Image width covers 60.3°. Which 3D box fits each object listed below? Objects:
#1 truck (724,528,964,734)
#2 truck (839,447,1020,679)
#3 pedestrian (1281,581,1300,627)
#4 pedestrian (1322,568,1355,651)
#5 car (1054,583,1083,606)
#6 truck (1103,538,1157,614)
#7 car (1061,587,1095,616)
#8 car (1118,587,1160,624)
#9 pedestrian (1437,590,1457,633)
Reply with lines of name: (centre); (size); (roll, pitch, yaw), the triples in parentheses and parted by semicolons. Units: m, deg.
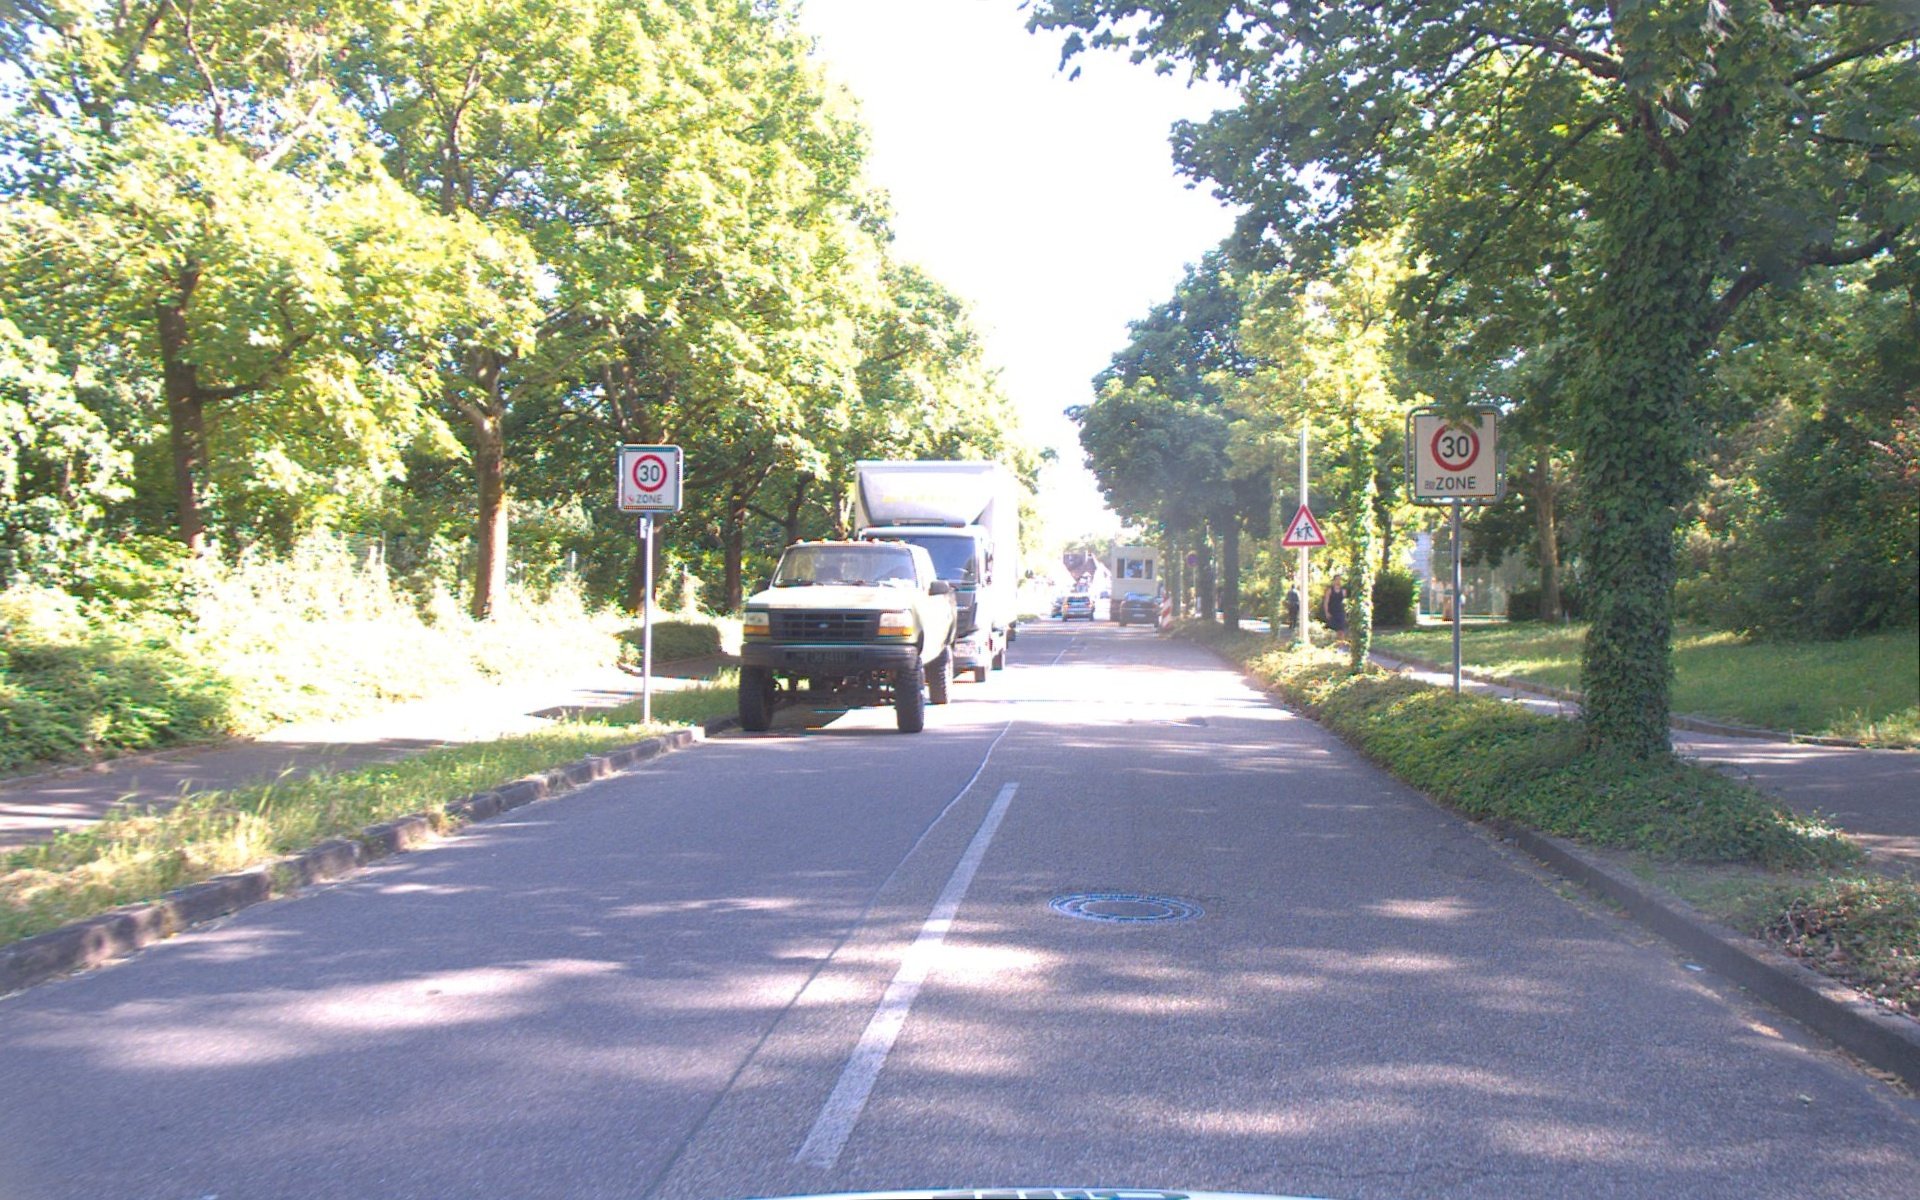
truck: (-1.206, 0.295, 20.529); (2.068, 2.130, 6.651); (0, 0, 4)
truck: (-0.347, -0.613, 30.349); (2.559, 3.690, 7.961); (0, 0, 5)
pedestrian: (12.297, 0.132, 61.579); (0.634, 1.690, 0.650); (1, 0, 7)
pedestrian: (8.483, 0.207, 37.112); (0.634, 1.852, 0.650); (1, 0, 6)
car: (7.315, -0.383, 111.150); (1.756, 1.536, 4.003); (1, 0, 6)
truck: (9.643, -1.354, 93.765); (2.826, 4.013, 10.007); (1, 1, 6)
car: (6.552, 0.067, 91.663); (1.756, 1.536, 4.003); (1, 0, 6)
car: (7.735, 0.210, 71.741); (1.756, 1.536, 4.003); (1, 0, 6)
pedestrian: (19.365, 0.436, 65.766); (0.634, 1.690, 0.650); (1, 0, 7)
